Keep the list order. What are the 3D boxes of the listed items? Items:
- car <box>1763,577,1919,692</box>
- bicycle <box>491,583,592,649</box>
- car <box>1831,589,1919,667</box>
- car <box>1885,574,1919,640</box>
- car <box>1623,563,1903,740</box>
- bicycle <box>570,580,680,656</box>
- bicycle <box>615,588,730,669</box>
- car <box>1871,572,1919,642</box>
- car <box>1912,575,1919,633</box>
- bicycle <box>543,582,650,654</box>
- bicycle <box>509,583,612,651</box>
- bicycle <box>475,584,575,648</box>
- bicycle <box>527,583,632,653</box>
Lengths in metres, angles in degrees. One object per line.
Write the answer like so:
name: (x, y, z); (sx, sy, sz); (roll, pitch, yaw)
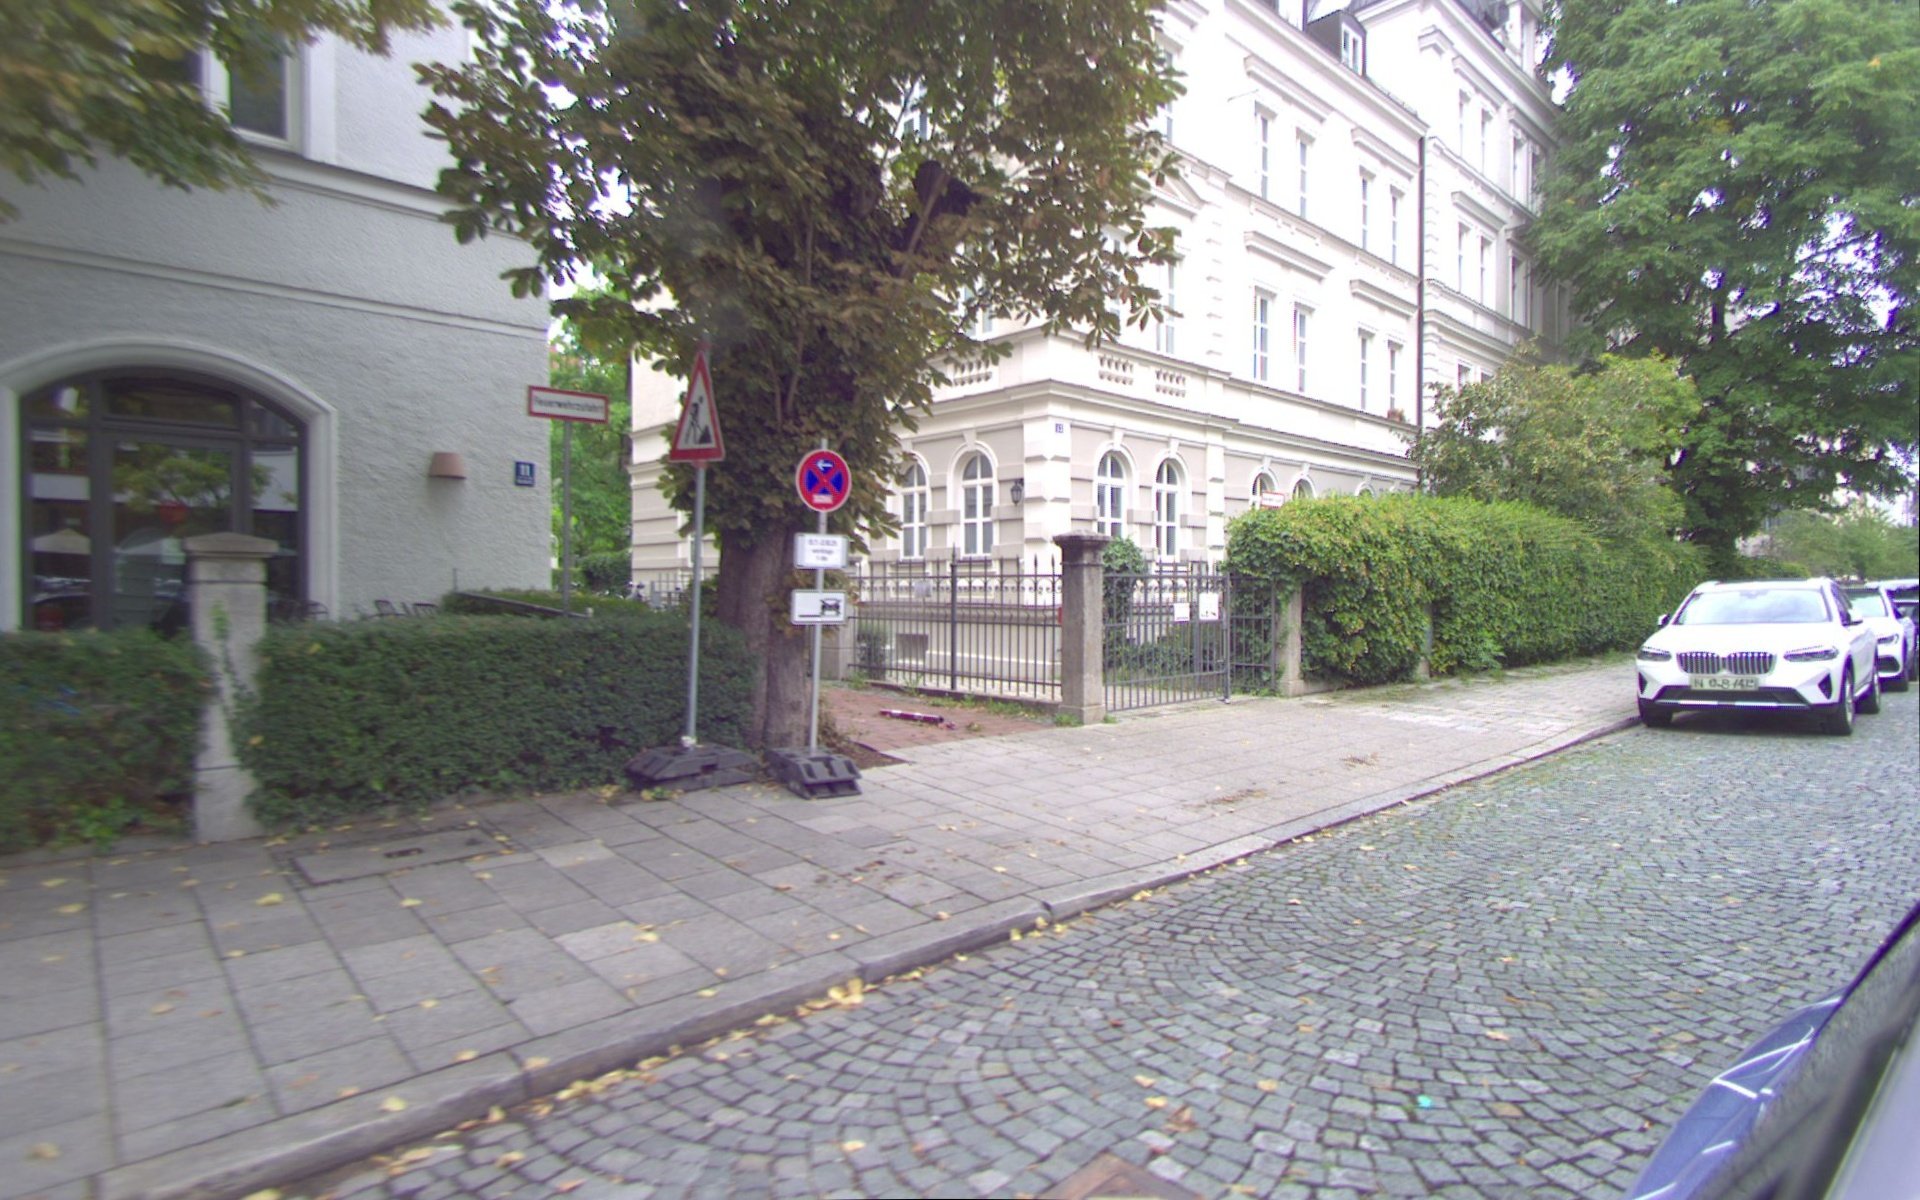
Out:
car: (14.676, 0.447, 16.614); (4.398, 1.620, 1.749); (-1, 1, -44)
bicycle: (-7.488, 0.269, 18.152); (0.419, 1.115, 1.648); (0, 1, 42)
car: (18.580, 0.480, 19.780); (4.729, 1.314, 1.921); (-2, 1, -44)
car: (31.151, 0.182, 32.344); (3.932, 2.039, 1.996); (-1, 1, -42)
car: (9.693, 0.433, 12.075); (4.555, 1.706, 1.923); (-2, 2, -42)
bicycle: (-5.240, 0.256, 15.899); (0.419, 1.115, 1.648); (0, 1, 42)
bicycle: (-4.204, 0.386, 14.887); (0.419, 1.115, 1.648); (0, 1, 42)
car: (27.179, 0.123, 28.532); (4.730, 1.843, 1.815); (-1, -2, -44)
car: (36.078, 0.122, 36.670); (3.932, 2.039, 1.996); (-1, 1, -42)
bicycle: (-5.927, 0.270, 16.581); (0.419, 1.115, 1.648); (0, 1, 42)
bicycle: (-6.934, 0.273, 17.633); (0.419, 1.115, 1.648); (0, 1, 42)
bicycle: (-7.976, 0.274, 18.610); (0.419, 1.115, 1.648); (0, 1, 42)
bicycle: (-6.403, 0.273, 17.102); (0.419, 1.115, 1.648); (0, 1, 42)
